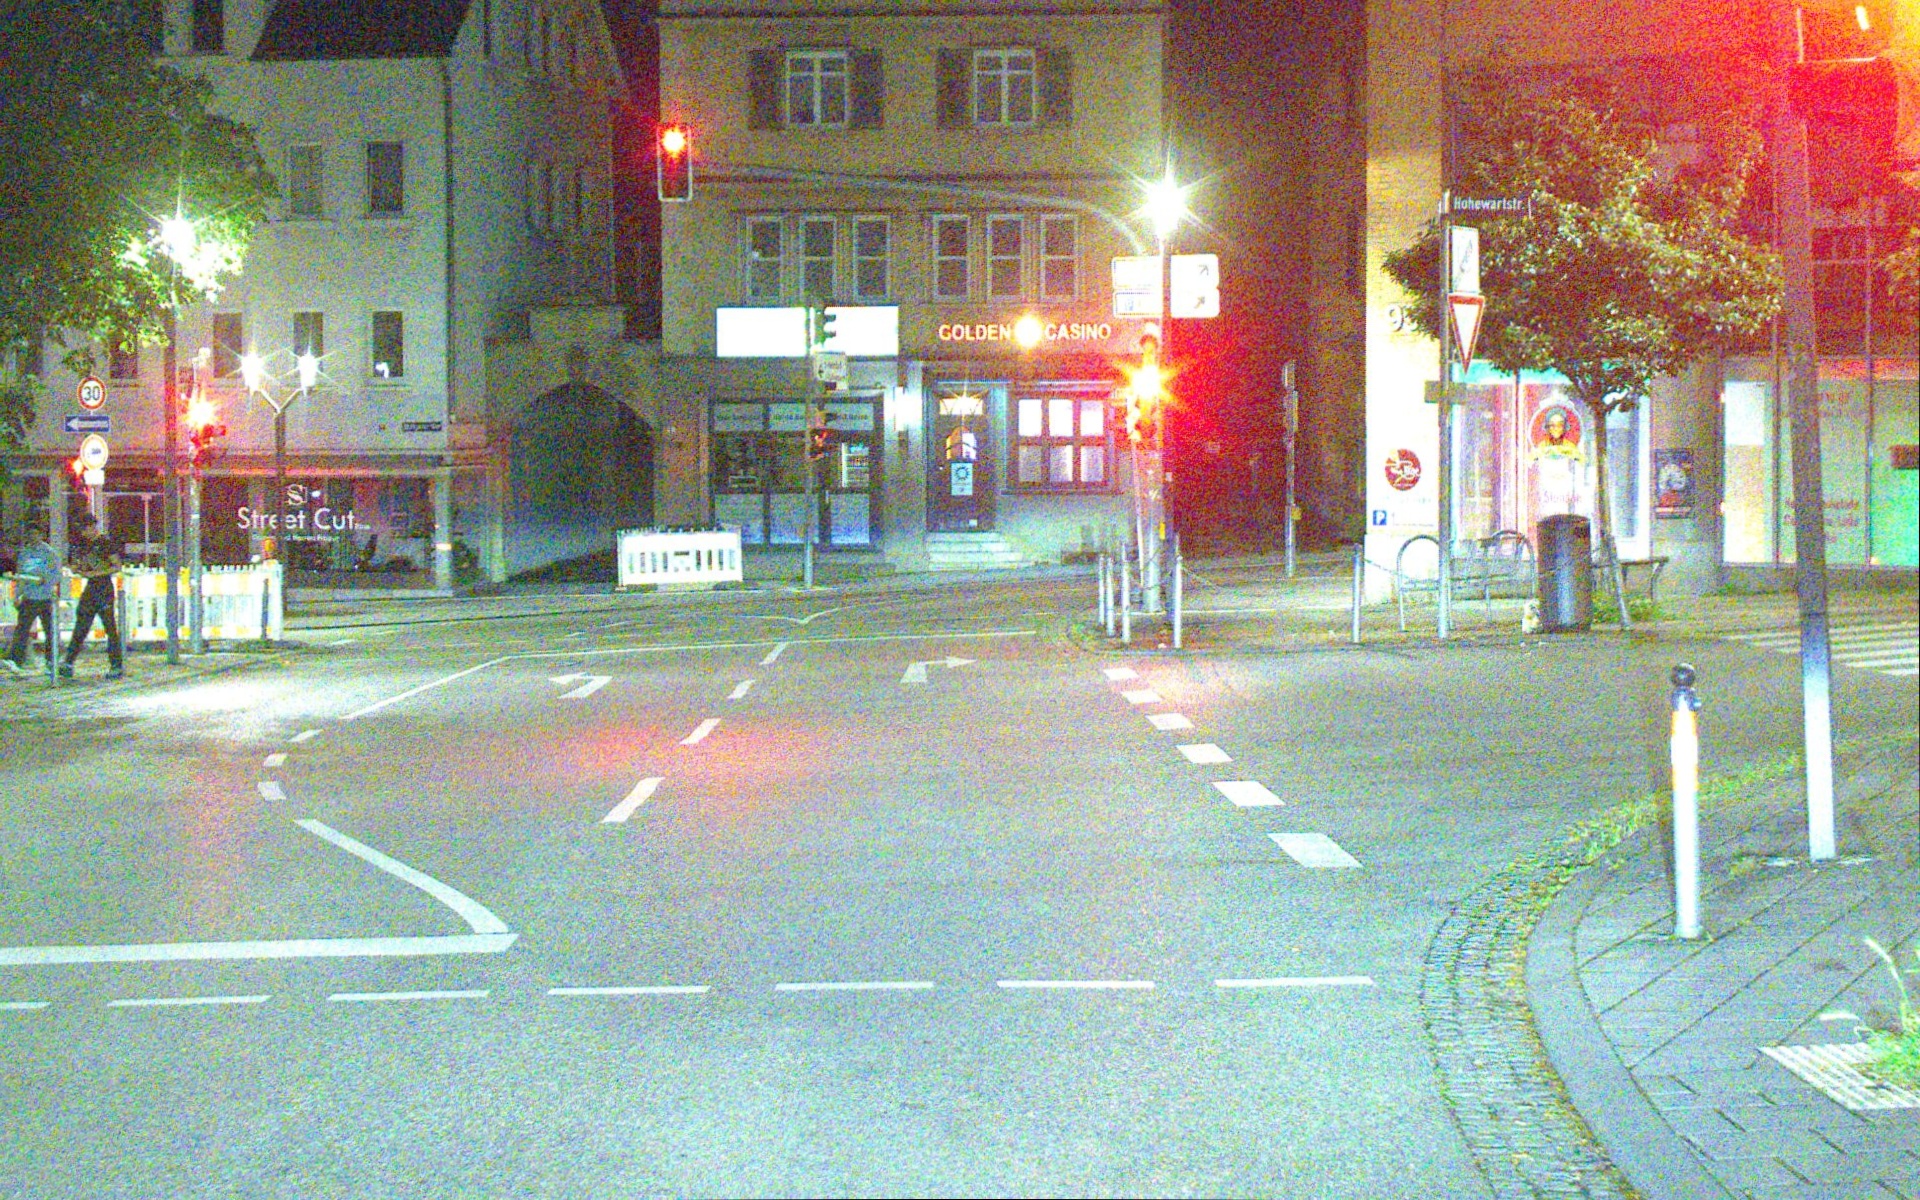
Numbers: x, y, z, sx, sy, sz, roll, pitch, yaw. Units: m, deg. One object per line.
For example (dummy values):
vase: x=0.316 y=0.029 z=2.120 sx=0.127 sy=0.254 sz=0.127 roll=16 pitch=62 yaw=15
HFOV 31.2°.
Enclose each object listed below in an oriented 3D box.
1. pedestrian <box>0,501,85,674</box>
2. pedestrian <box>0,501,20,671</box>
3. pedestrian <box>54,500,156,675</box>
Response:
pedestrian: x=-9.609 y=-0.132 z=35.939 sx=0.716 sy=1.789 sz=0.569 roll=1 pitch=0 yaw=6
pedestrian: x=-10.469 y=-0.149 z=36.603 sx=0.716 sy=1.789 sz=0.569 roll=1 pitch=0 yaw=6
pedestrian: x=-8.867 y=-0.129 z=35.678 sx=0.716 sy=1.789 sz=0.736 roll=1 pitch=0 yaw=19
